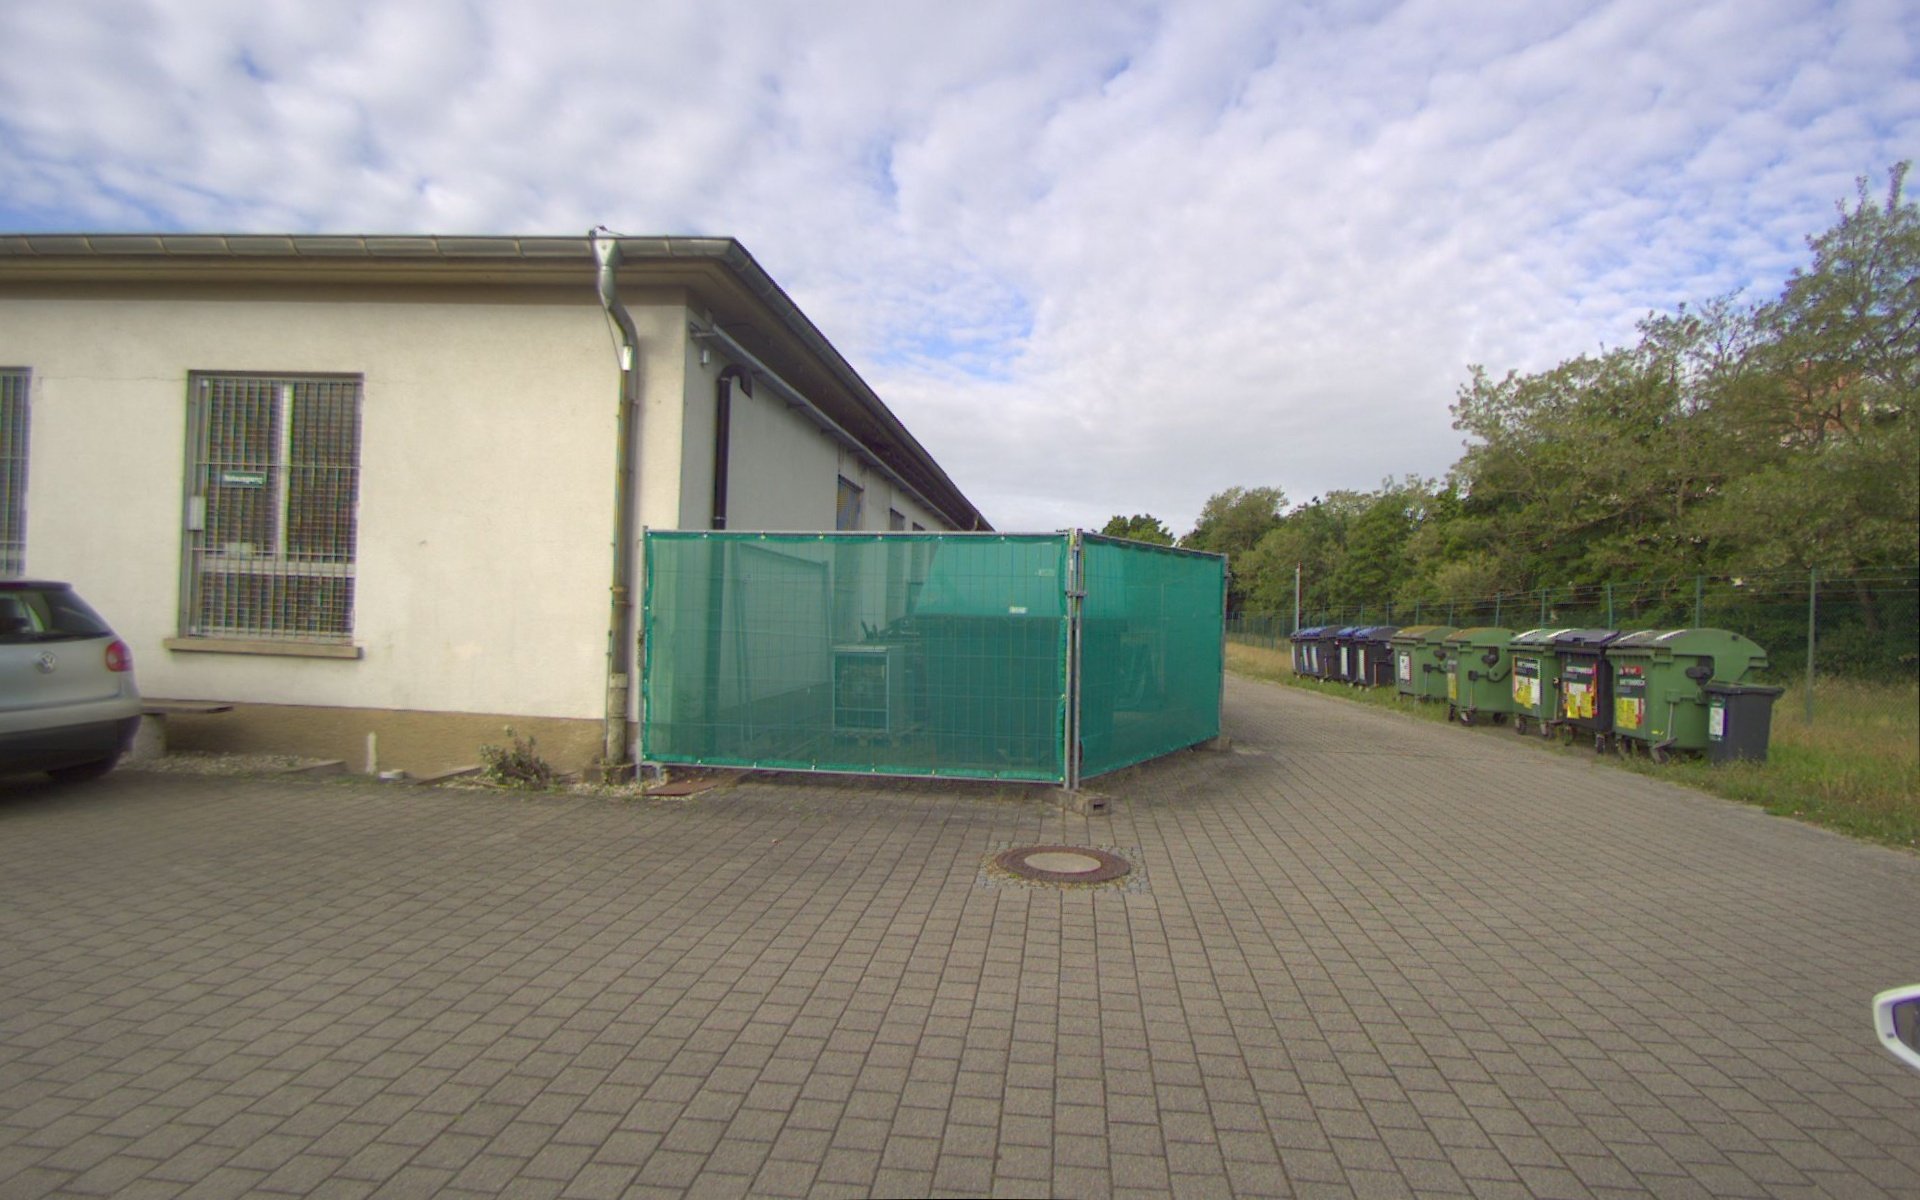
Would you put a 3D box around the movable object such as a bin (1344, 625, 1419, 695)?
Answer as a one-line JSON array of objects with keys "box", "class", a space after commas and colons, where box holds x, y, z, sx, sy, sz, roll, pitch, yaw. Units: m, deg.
[{"box": [8.689, 1.228, 20.767, 1.134, 1.342, 1.495, 2, -2, 12], "class": "movable object such as a bin"}]

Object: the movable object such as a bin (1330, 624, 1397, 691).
[{"box": [8.944, 1.263, 22.330, 1.103, 1.392, 1.495, 2, -2, 12], "class": "movable object such as a bin"}]

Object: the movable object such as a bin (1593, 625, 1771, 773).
[{"box": [7.651, 1.011, 10.739, 1.109, 1.414, 1.357, 2, -2, 15], "class": "movable object such as a bin"}]

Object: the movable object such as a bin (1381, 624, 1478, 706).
[{"box": [8.192, 1.115, 17.597, 1.104, 1.313, 1.380, 2, -2, 6], "class": "movable object such as a bin"}]

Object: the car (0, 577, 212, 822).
[{"box": [-7.763, 0.534, 6.696, 4.279, 1.458, 1.932, 2, -1, 8], "class": "car"}]

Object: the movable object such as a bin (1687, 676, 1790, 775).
[{"box": [7.553, 1.203, 9.766, 0.589, 0.877, 0.586, 2, -2, 15], "class": "movable object such as a bin"}]

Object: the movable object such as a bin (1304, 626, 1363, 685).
[{"box": [8.845, 1.293, 23.857, 1.103, 1.339, 1.326, 1, -1, 12], "class": "movable object such as a bin"}]

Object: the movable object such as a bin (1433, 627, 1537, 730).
[{"box": [7.811, 1.145, 15.027, 1.104, 1.416, 1.386, 2, -2, 17], "class": "movable object such as a bin"}]

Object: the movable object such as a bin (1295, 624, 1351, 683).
[{"box": [9.070, 1.323, 25.141, 1.103, 1.397, 1.326, 2, -2, 12], "class": "movable object such as a bin"}]

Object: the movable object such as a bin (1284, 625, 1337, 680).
[{"box": [9.243, 1.380, 26.548, 1.103, 1.368, 1.427, 2, -2, 12], "class": "movable object such as a bin"}]

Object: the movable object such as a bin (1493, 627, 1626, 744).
[{"box": [7.954, 1.106, 13.412, 1.051, 1.424, 1.386, 2, -2, 9], "class": "movable object such as a bin"}]

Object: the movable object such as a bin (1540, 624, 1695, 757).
[{"box": [7.846, 1.049, 12.082, 1.051, 1.453, 1.399, 2, -2, 9], "class": "movable object such as a bin"}]
